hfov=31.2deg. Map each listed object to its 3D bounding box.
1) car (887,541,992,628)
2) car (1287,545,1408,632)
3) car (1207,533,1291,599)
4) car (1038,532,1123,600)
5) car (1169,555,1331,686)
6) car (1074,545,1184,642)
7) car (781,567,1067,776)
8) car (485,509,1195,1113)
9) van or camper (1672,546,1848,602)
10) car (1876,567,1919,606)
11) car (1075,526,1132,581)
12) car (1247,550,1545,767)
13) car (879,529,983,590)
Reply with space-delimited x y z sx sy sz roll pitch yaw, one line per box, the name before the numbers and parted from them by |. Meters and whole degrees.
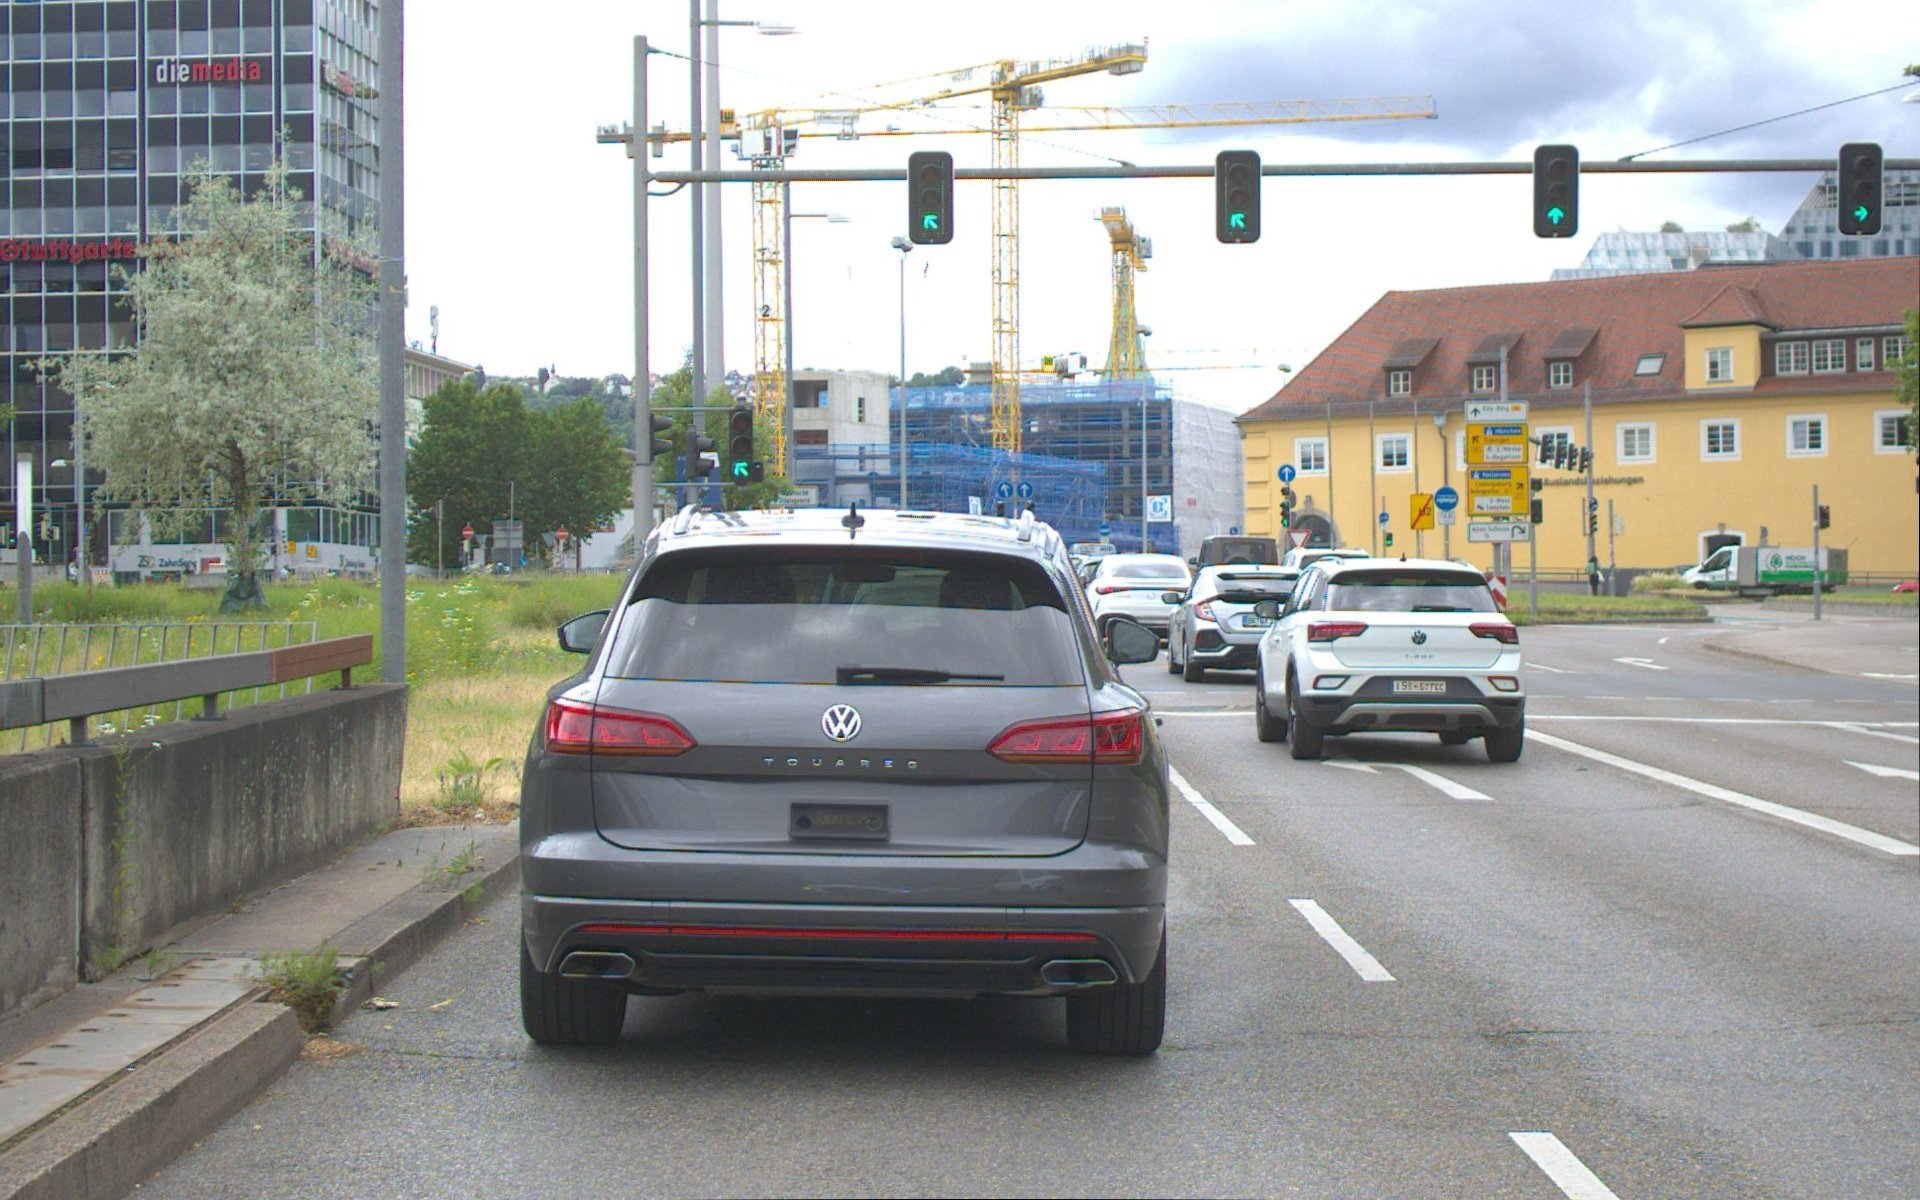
car | -0.361 -0.310 62.258 1.814 1.491 3.906 1 1 0
car | 7.009 -0.238 62.452 1.803 1.497 3.981 1 1 1
car | 6.892 -0.839 82.270 1.719 1.497 3.981 2 1 1
car | 3.110 -0.885 89.477 2.139 1.722 4.070 0 0 1
car | 3.534 0.210 42.459 1.719 1.497 4.144 1 1 1
car | 2.801 -0.135 56.292 1.719 1.497 3.981 1 1 4
car | -0.255 0.482 25.995 1.993 1.382 4.000 0 1 0
car | -0.334 0.542 11.451 1.933 1.641 4.000 1 1 0
van or camper | 29.605 -0.972 127.347 6.017 2.007 2.015 1 0 36
car | 35.443 -0.474 123.338 4.686 1.416 1.594 1 0 32
car | 5.435 -1.780 130.801 1.993 2.007 4.000 1 1 0
car | 3.413 0.406 27.564 1.893 1.580 3.801 1 1 0
car | -0.775 -1.063 87.777 2.244 1.497 4.612 1 1 -5
